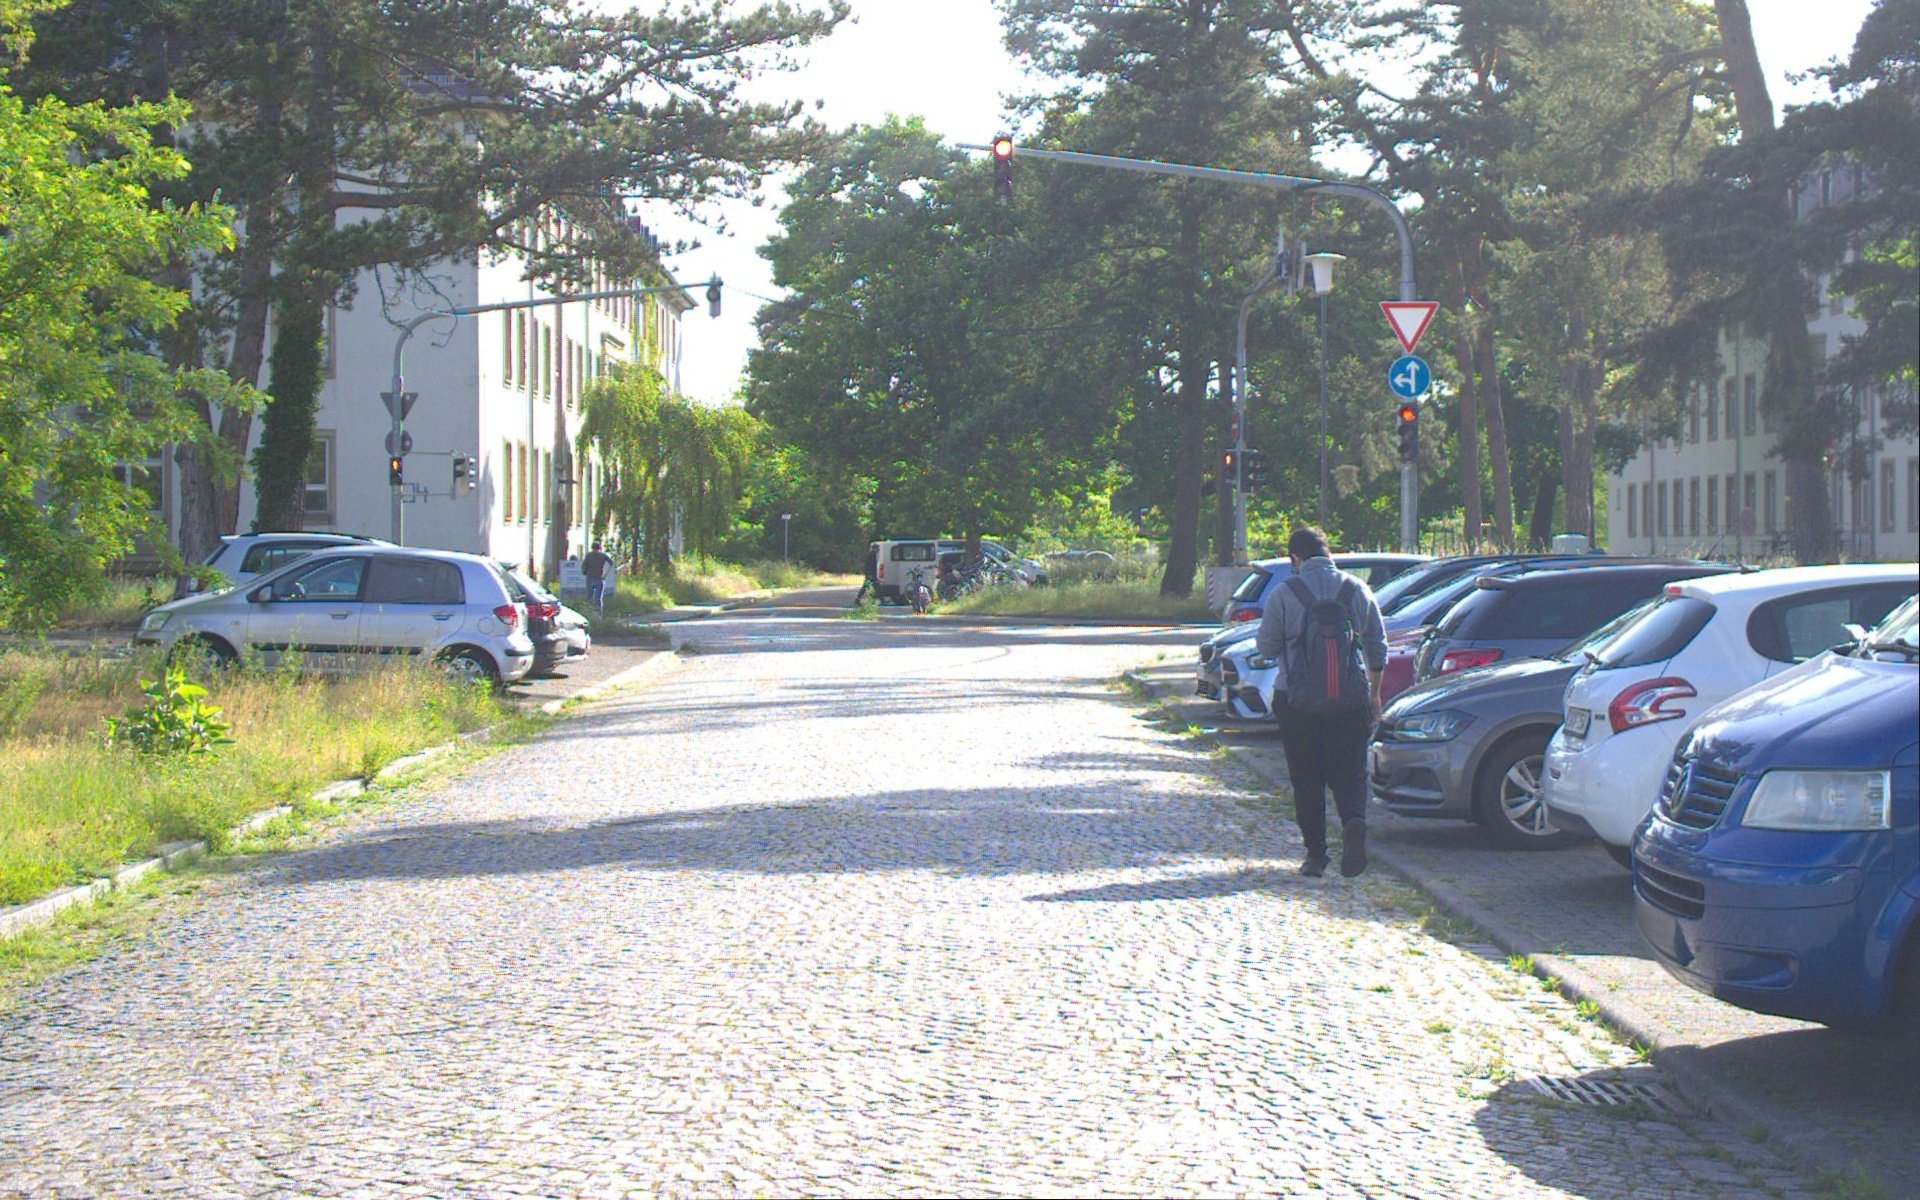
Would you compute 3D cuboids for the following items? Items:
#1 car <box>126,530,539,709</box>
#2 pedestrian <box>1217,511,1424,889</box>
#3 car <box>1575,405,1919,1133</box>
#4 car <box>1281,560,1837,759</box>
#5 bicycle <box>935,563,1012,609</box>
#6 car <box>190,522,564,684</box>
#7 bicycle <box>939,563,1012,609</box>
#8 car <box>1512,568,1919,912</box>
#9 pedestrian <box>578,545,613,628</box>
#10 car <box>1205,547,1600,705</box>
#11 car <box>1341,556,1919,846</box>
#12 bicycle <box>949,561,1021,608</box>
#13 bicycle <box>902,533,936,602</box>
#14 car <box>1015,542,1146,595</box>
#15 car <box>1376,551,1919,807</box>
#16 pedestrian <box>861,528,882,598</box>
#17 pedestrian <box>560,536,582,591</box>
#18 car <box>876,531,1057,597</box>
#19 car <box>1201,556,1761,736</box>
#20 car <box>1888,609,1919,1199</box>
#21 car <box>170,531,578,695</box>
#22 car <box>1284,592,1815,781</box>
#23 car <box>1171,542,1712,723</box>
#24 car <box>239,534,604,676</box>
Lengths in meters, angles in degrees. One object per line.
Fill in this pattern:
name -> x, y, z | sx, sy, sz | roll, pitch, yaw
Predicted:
car -> -6.020, 0.172, 33.312 | 3.685, 1.522, 1.699 | 3, 1, -3
pedestrian -> 1.730, 0.467, 16.607 | 0.753, 1.719, 0.828 | 5, 1, -1
car -> 4.469, 0.394, 10.543 | 4.754, 2.007, 2.000 | -2, 1, 0
car -> 4.566, 0.433, 26.577 | 3.979, 1.443, 1.656 | -1, 1, -1
bicycle -> 0.315, -0.334, 83.113 | 1.834, 1.108, 0.495 | 0, 1, -4
car -> -6.499, 0.019, 38.615 | 3.879, 1.610, 1.661 | 3, 1, -1
bicycle -> 0.377, -0.340, 83.657 | 1.727, 1.108, 0.484 | 0, 1, -4
car -> 4.488, 0.602, 15.790 | 3.645, 1.487, 1.634 | 0, 1, 0
pedestrian -> -7.700, -0.293, 72.587 | 0.606, 1.746, 0.630 | 0, 1, -19
car -> 4.349, 0.240, 34.174 | 3.673, 1.438, 1.665 | -1, 1, 0
car -> 4.059, 0.508, 18.721 | 3.781, 1.445, 1.758 | -1, 1, 1
bicycle -> 0.606, -0.384, 84.339 | 1.727, 1.160, 0.561 | 0, 1, -4
bicycle -> -0.968, -0.759, 79.862 | 0.753, 1.575, 2.537 | 1, 1, -1
car -> 3.667, -0.962, 104.915 | 3.743, 1.574, 1.742 | 0, 1, -7
car -> 4.566, 0.464, 21.557 | 3.663, 1.450, 1.667 | -2, 1, 0
pedestrian -> -2.547, -1.080, 99.072 | 0.594, 2.007, 0.572 | 0, 1, 1
pedestrian -> -10.993, -1.029, 97.049 | 0.606, 1.554, 0.545 | 0, 1, -7
car -> 0.170, -1.071, 101.058 | 5.065, 1.911, 2.001 | 0, 1, -10
car -> 4.326, 0.362, 28.995 | 4.399, 1.384, 1.789 | -1, 1, -1
car -> 4.239, 0.733, 7.919 | 3.719, 1.462, 1.610 | -1, 1, -2
car -> -6.081, 0.124, 35.975 | 3.937, 1.440, 1.691 | 3, 1, -1
car -> 4.089, 0.589, 24.189 | 3.460, 1.238, 1.536 | 0, 1, 0
car -> 4.367, 0.272, 31.636 | 4.619, 1.450, 1.870 | -2, 1, -3
car -> -6.446, 0.042, 41.366 | 3.987, 1.491, 1.772 | 3, 1, 4
